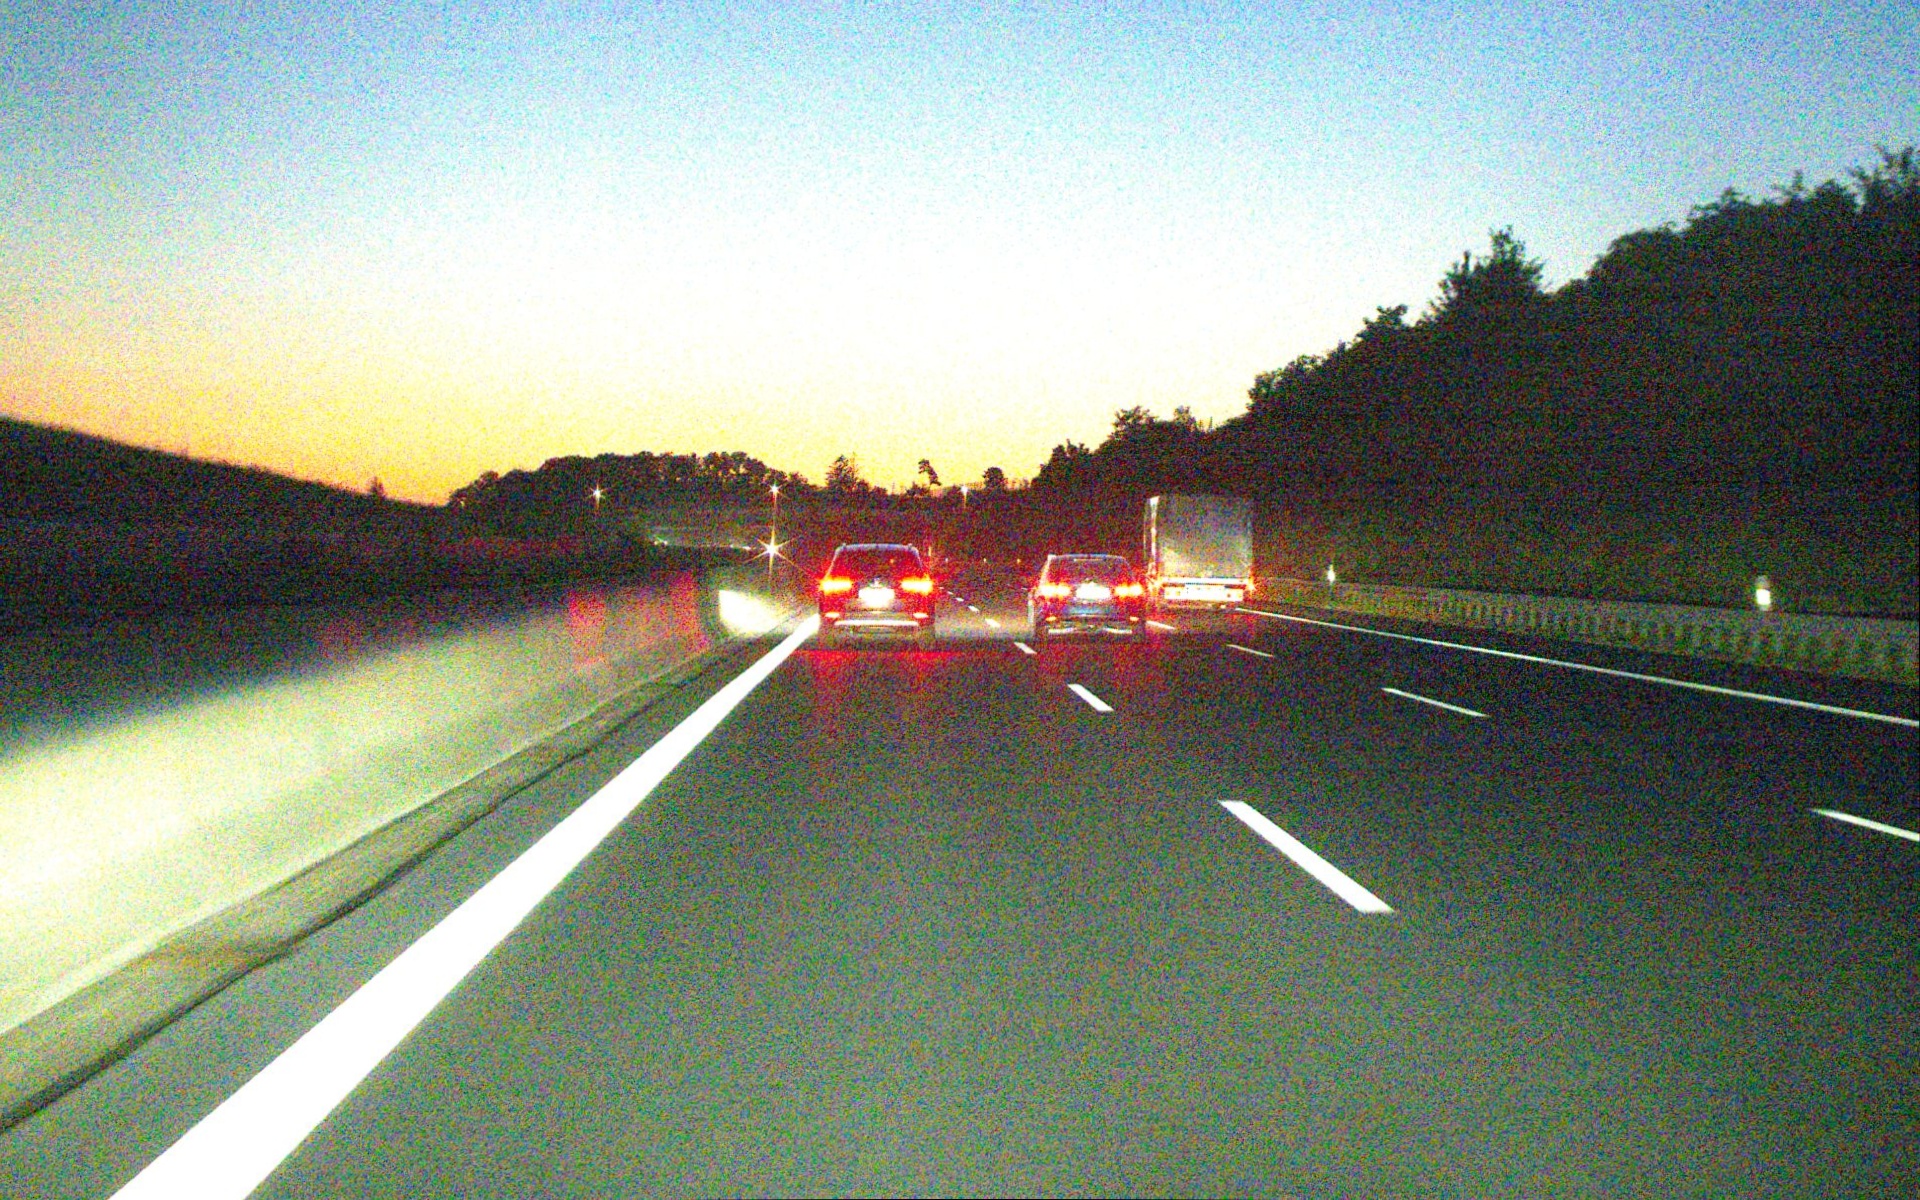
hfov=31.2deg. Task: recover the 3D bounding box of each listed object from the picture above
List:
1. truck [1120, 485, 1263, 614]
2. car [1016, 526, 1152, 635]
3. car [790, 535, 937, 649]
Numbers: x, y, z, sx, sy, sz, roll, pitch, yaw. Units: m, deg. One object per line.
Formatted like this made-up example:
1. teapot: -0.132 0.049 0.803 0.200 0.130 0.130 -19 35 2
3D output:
1. truck: 5.871 -1.314 88.394 2.603 2.865 7.486 7 1 -2
2. car: 2.041 -0.342 57.734 1.911 1.724 4.000 1 1 -3
3. car: -1.507 -0.141 52.602 2.105 1.612 4.205 2 1 -2
